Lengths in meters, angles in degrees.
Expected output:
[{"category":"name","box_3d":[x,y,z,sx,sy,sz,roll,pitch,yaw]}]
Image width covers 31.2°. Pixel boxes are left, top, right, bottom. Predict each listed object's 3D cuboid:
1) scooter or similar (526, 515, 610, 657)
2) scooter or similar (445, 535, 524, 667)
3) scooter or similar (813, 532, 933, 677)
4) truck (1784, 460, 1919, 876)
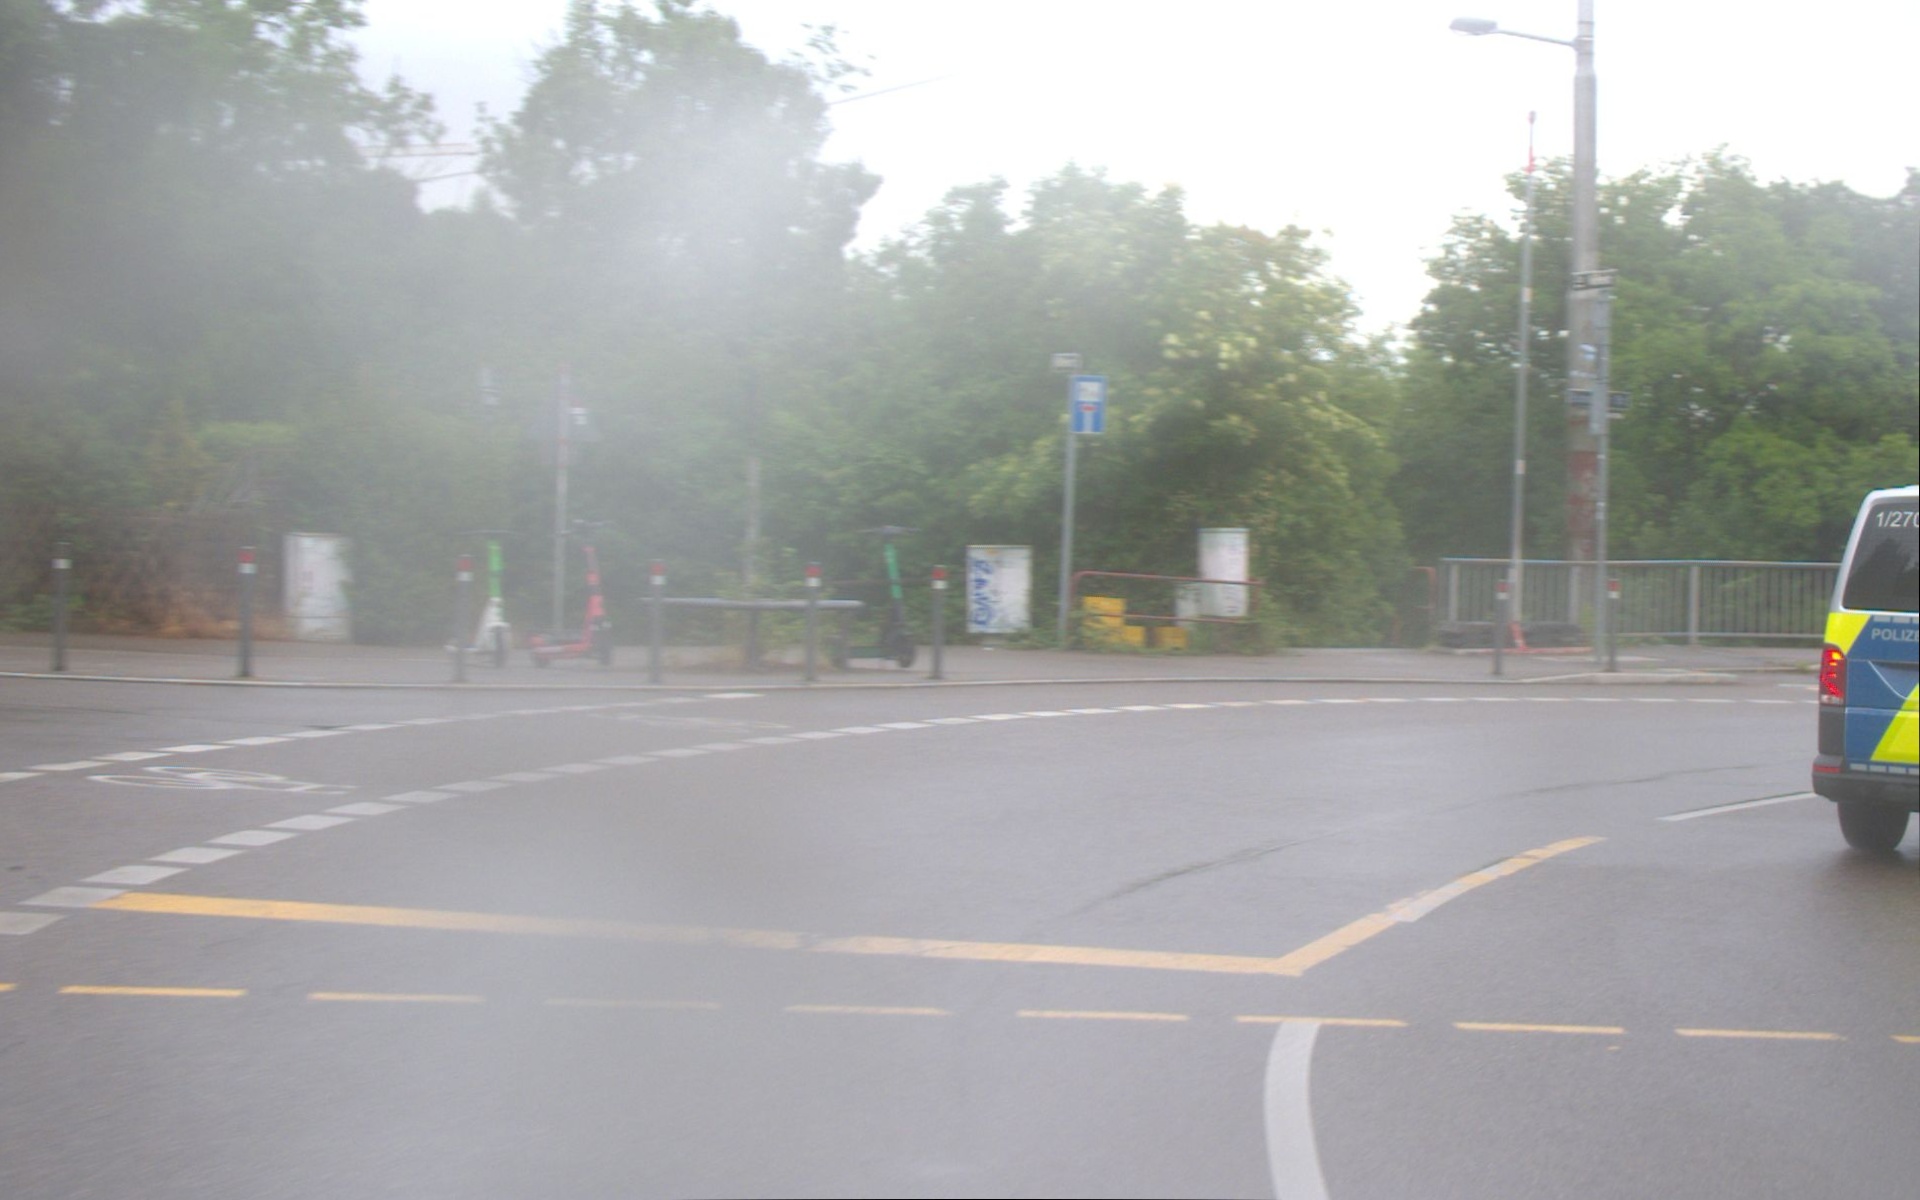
[{"category":"scooter or similar","box_3d":[-3.328,-0.125,29.156,0.243,1.160,1.037,2,2,-32]},{"category":"scooter or similar","box_3d":[-4.042,0.001,29.186,0.243,1.065,1.037,2,2,-30]},{"category":"scooter or similar","box_3d":[-0.773,0.034,30.322,1.035,1.214,0.243,4,1,31]},{"category":"truck","box_3d":[6.205,0.371,18.611,1.997,2.006,4.726,4,2,30]}]
